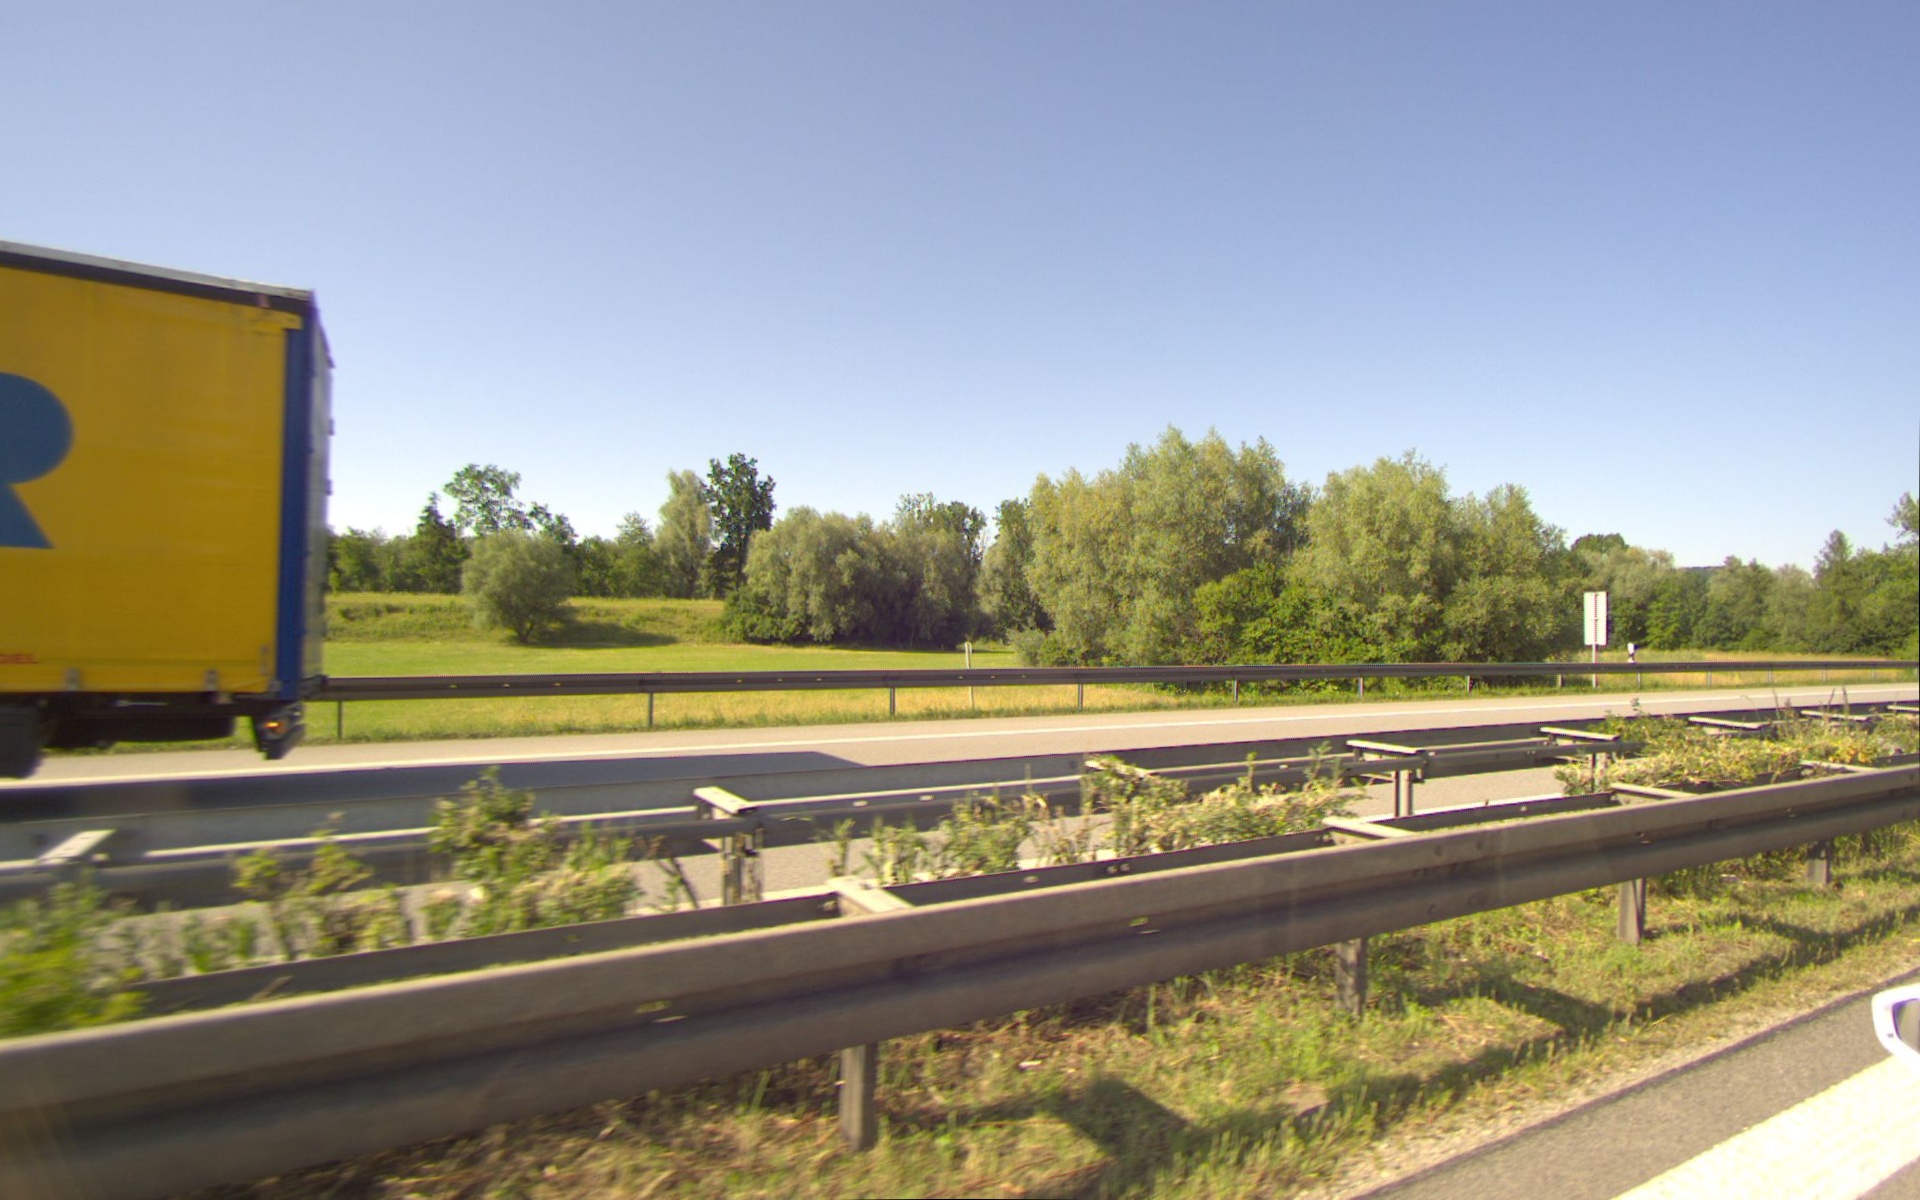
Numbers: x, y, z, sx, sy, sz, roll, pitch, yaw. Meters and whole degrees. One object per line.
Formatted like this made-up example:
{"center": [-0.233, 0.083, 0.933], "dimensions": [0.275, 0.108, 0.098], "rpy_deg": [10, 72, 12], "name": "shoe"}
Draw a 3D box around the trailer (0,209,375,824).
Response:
{"center": [-11.527, -0.662, 5.552], "dimensions": [14.225, 4.215, 2.774], "rpy_deg": [2, -2, -31], "name": "trailer"}
